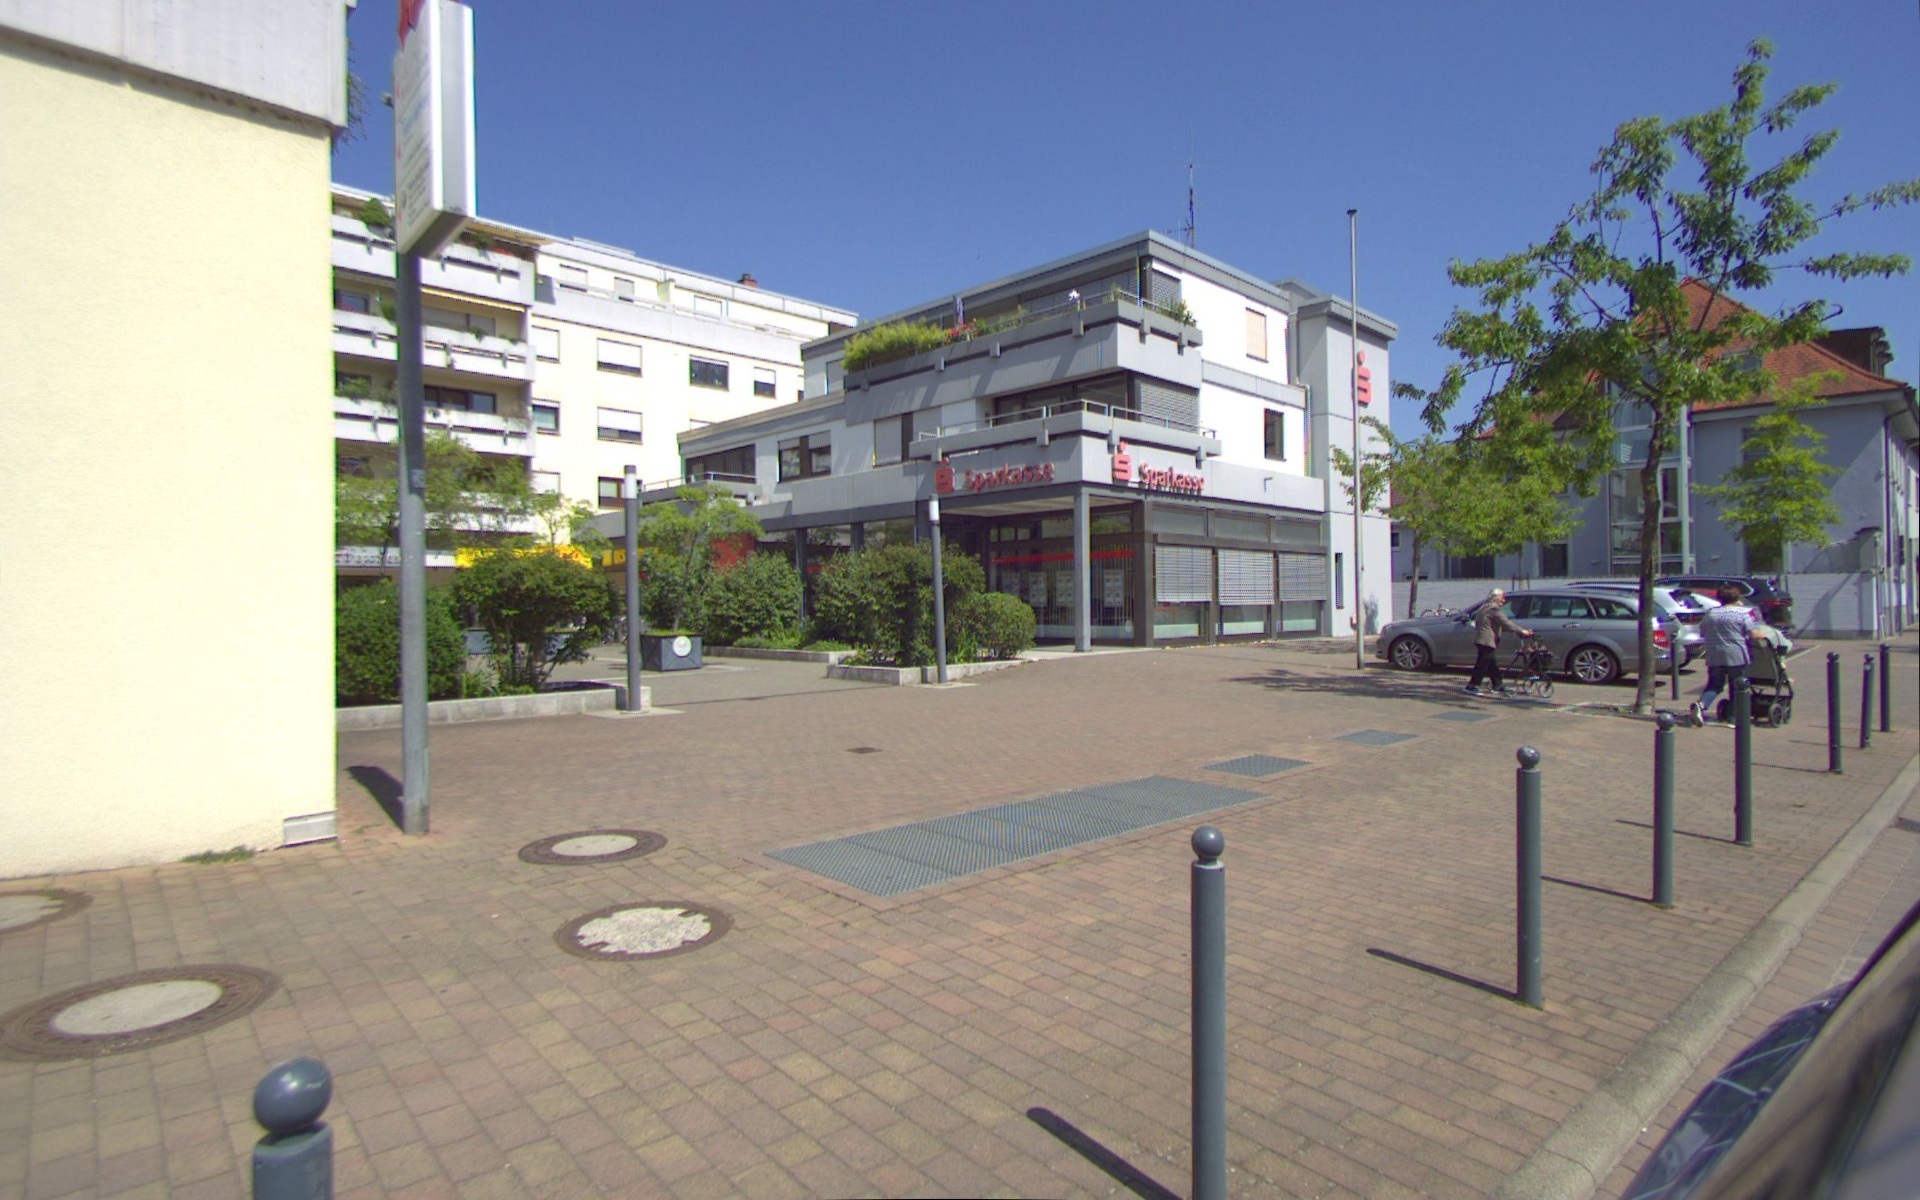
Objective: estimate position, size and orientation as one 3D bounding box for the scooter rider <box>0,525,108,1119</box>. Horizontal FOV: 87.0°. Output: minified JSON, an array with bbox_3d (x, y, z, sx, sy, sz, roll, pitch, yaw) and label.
[{"bbox_3d":[-2.602,0.503,2.219,1.113,1.341,0.462,0,0,-40],"label":"scooter rider"}]

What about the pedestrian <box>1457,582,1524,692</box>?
[{"bbox_3d":[7.489,0.504,14.305,0.713,1.520,0.530,0,0,12],"label":"pedestrian"}]

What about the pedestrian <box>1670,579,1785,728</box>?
[{"bbox_3d":[8.233,0.550,10.855,1.026,1.535,0.514,0,0,-22],"label":"pedestrian"}]

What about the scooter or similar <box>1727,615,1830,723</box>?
[{"bbox_3d":[9.049,0.743,11.191,0.890,1.132,0.507,0,1,-22],"label":"scooter or similar"}]

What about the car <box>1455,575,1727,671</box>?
[{"bbox_3d":[11.554,0.334,18.705,4.033,1.579,1.686,1,1,43],"label":"car"}]

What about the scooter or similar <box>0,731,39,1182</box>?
[{"bbox_3d":[-2.643,0.836,2.183,0.943,0.977,0.411,0,0,-39],"label":"scooter or similar"}]

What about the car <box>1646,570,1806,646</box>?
[{"bbox_3d":[18.960,0.155,25.105,3.032,1.759,1.324,1,1,44],"label":"car"}]

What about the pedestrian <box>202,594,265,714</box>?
[{"bbox_3d":[-9.399,0.673,13.094,0.594,1.482,0.794,0,0,-40],"label":"pedestrian"}]

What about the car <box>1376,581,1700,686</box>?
[{"bbox_3d":[9.456,0.443,16.823,4.432,1.484,1.664,2,2,44],"label":"car"}]

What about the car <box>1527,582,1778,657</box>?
[{"bbox_3d":[15.227,0.354,22.396,4.429,1.460,1.632,1,1,42],"label":"car"}]

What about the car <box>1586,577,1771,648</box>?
[{"bbox_3d":[17.053,0.270,24.094,3.421,1.571,1.467,0,0,45],"label":"car"}]

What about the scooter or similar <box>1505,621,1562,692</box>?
[{"bbox_3d":[8.032,0.781,14.190,0.538,0.958,0.534,0,0,12],"label":"scooter or similar"}]
